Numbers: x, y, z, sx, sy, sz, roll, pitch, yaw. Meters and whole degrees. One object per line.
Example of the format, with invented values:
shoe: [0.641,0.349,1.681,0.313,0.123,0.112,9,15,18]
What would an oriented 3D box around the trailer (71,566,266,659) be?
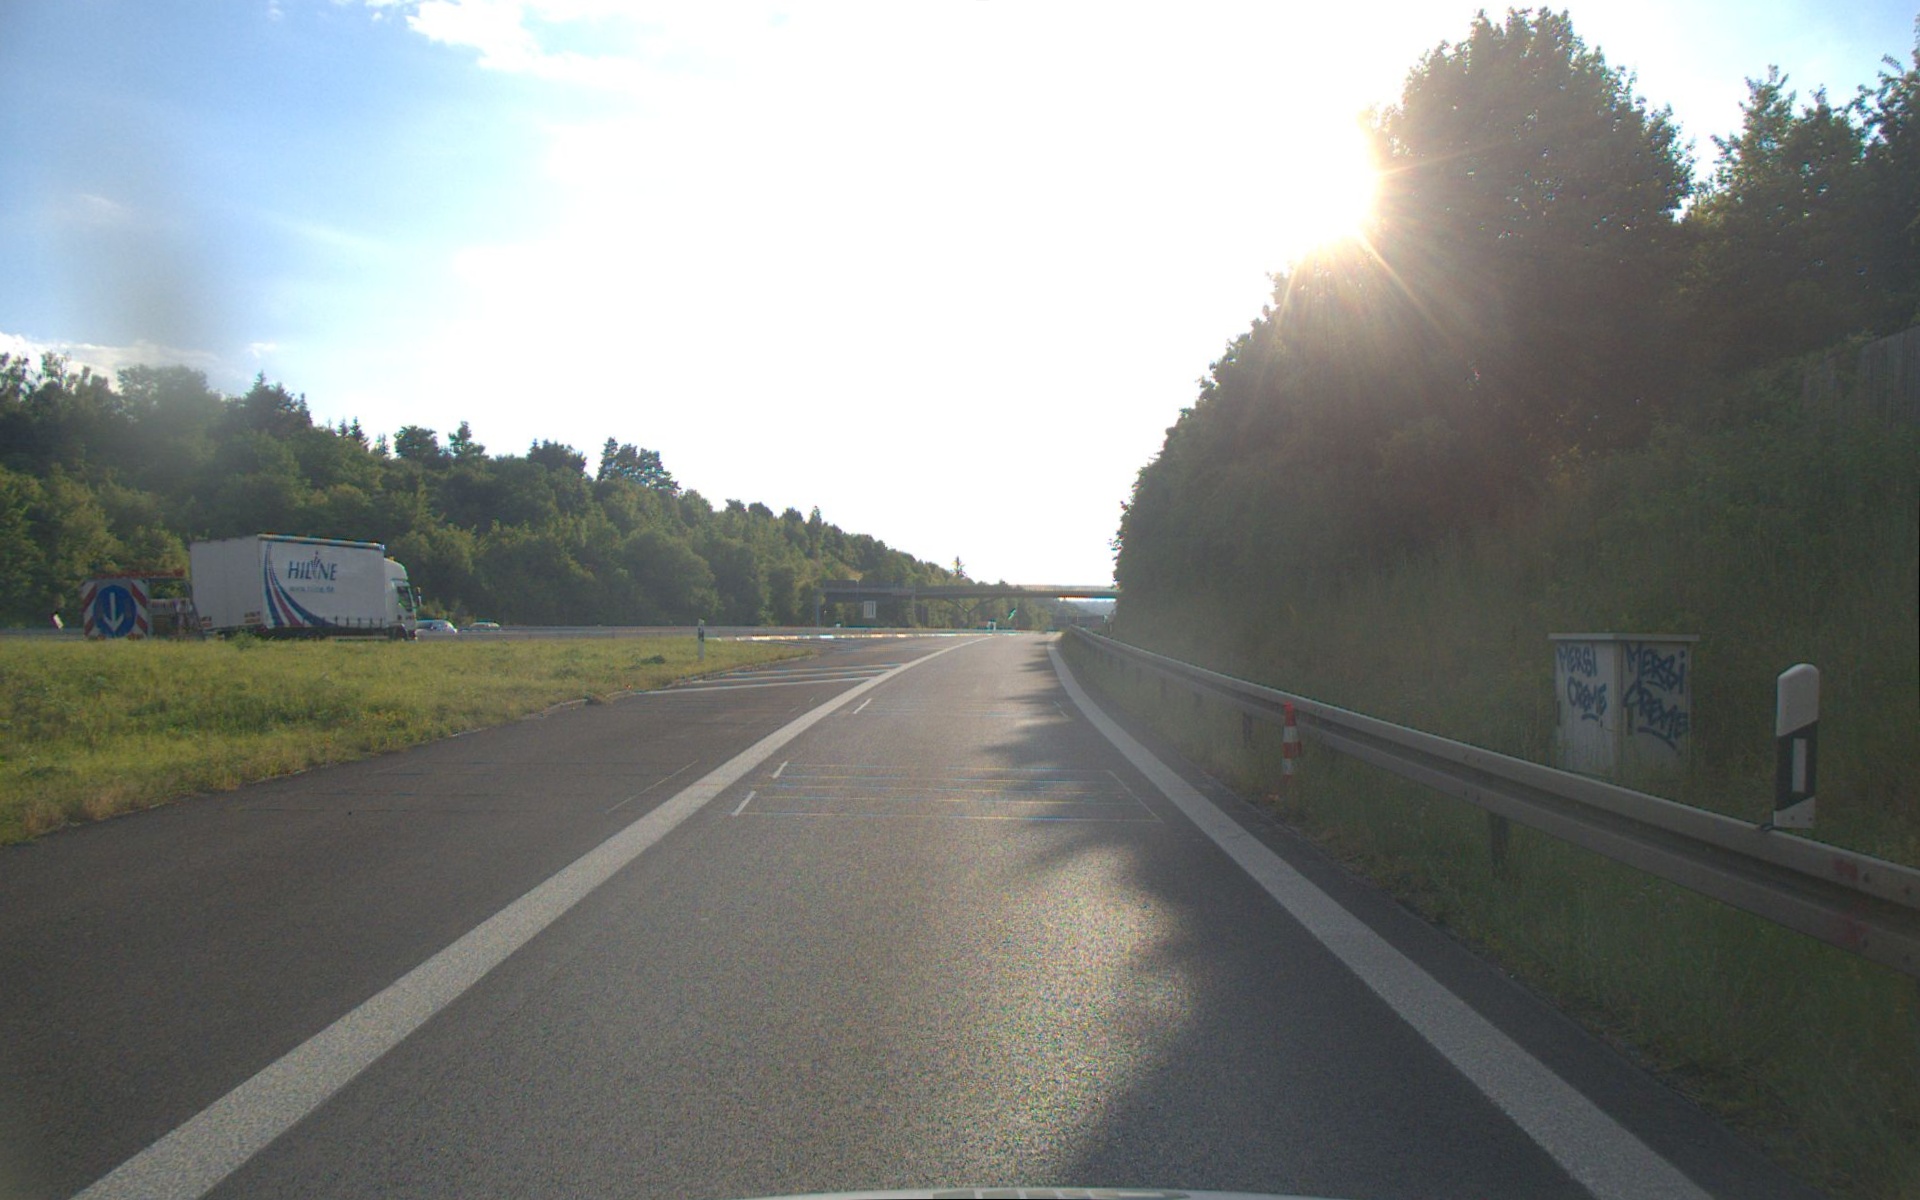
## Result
trailer: [-23.450,0.378,49.243,2.858,2.623,4.819,-1,-1,13]

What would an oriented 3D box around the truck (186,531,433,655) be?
truck: [-21.824,-0.156,56.301,2.858,3.856,9.672,-1,-1,13]
